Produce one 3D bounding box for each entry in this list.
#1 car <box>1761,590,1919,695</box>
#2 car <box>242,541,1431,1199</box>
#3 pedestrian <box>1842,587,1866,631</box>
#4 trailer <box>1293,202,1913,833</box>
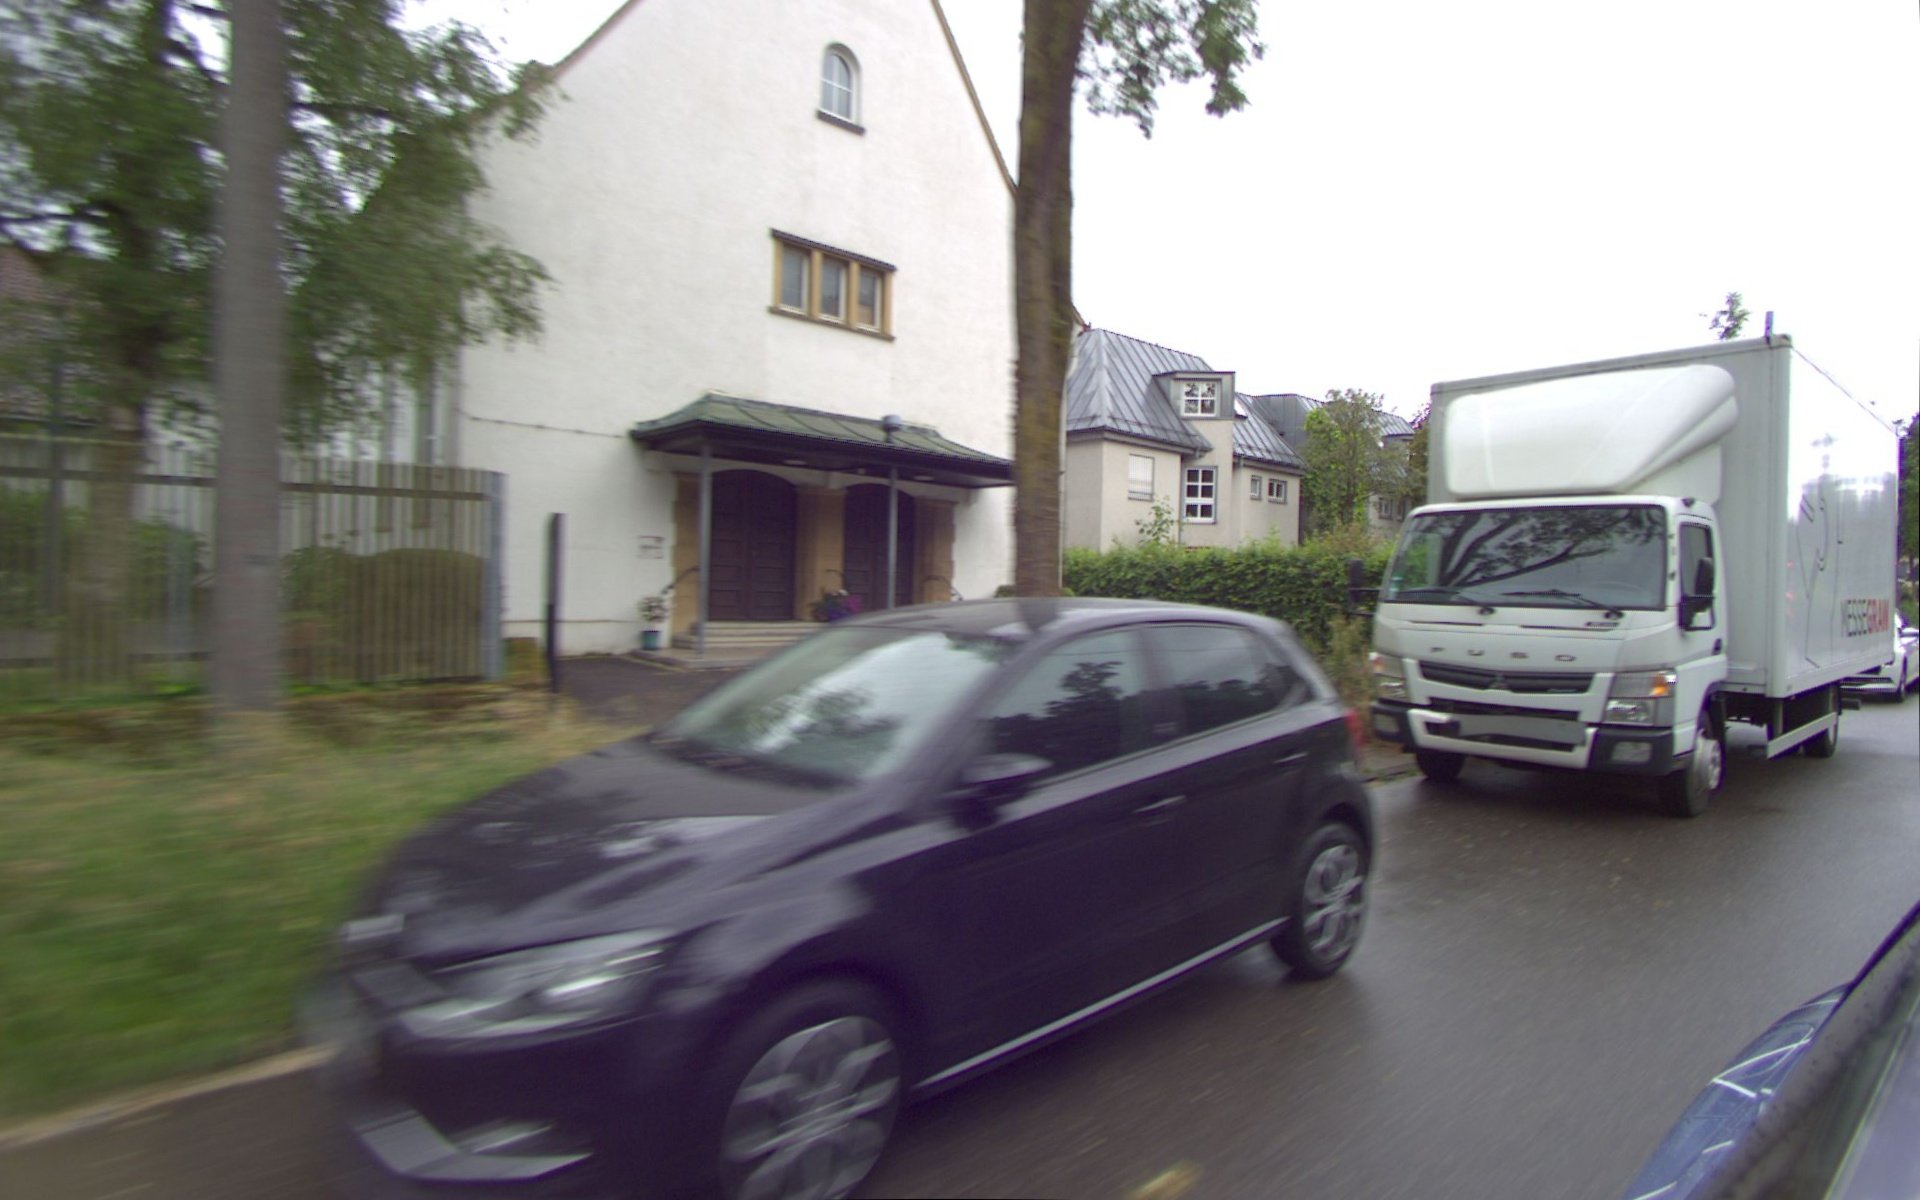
[{"bbox_3d":[14.694,0.594,16.545,4.470,1.493,1.798,0,0,-42],"label":"car"},{"bbox_3d":[-0.040,0.642,3.563,3.930,1.482,1.643,0,0,-41],"label":"car"},{"bbox_3d":[36.664,0.355,41.504,0.701,1.753,0.635,-2,2,-39],"label":"pedestrian"},{"bbox_3d":[6.485,-0.476,9.424,8.104,3.553,2.738,0,0,-41],"label":"trailer"}]
